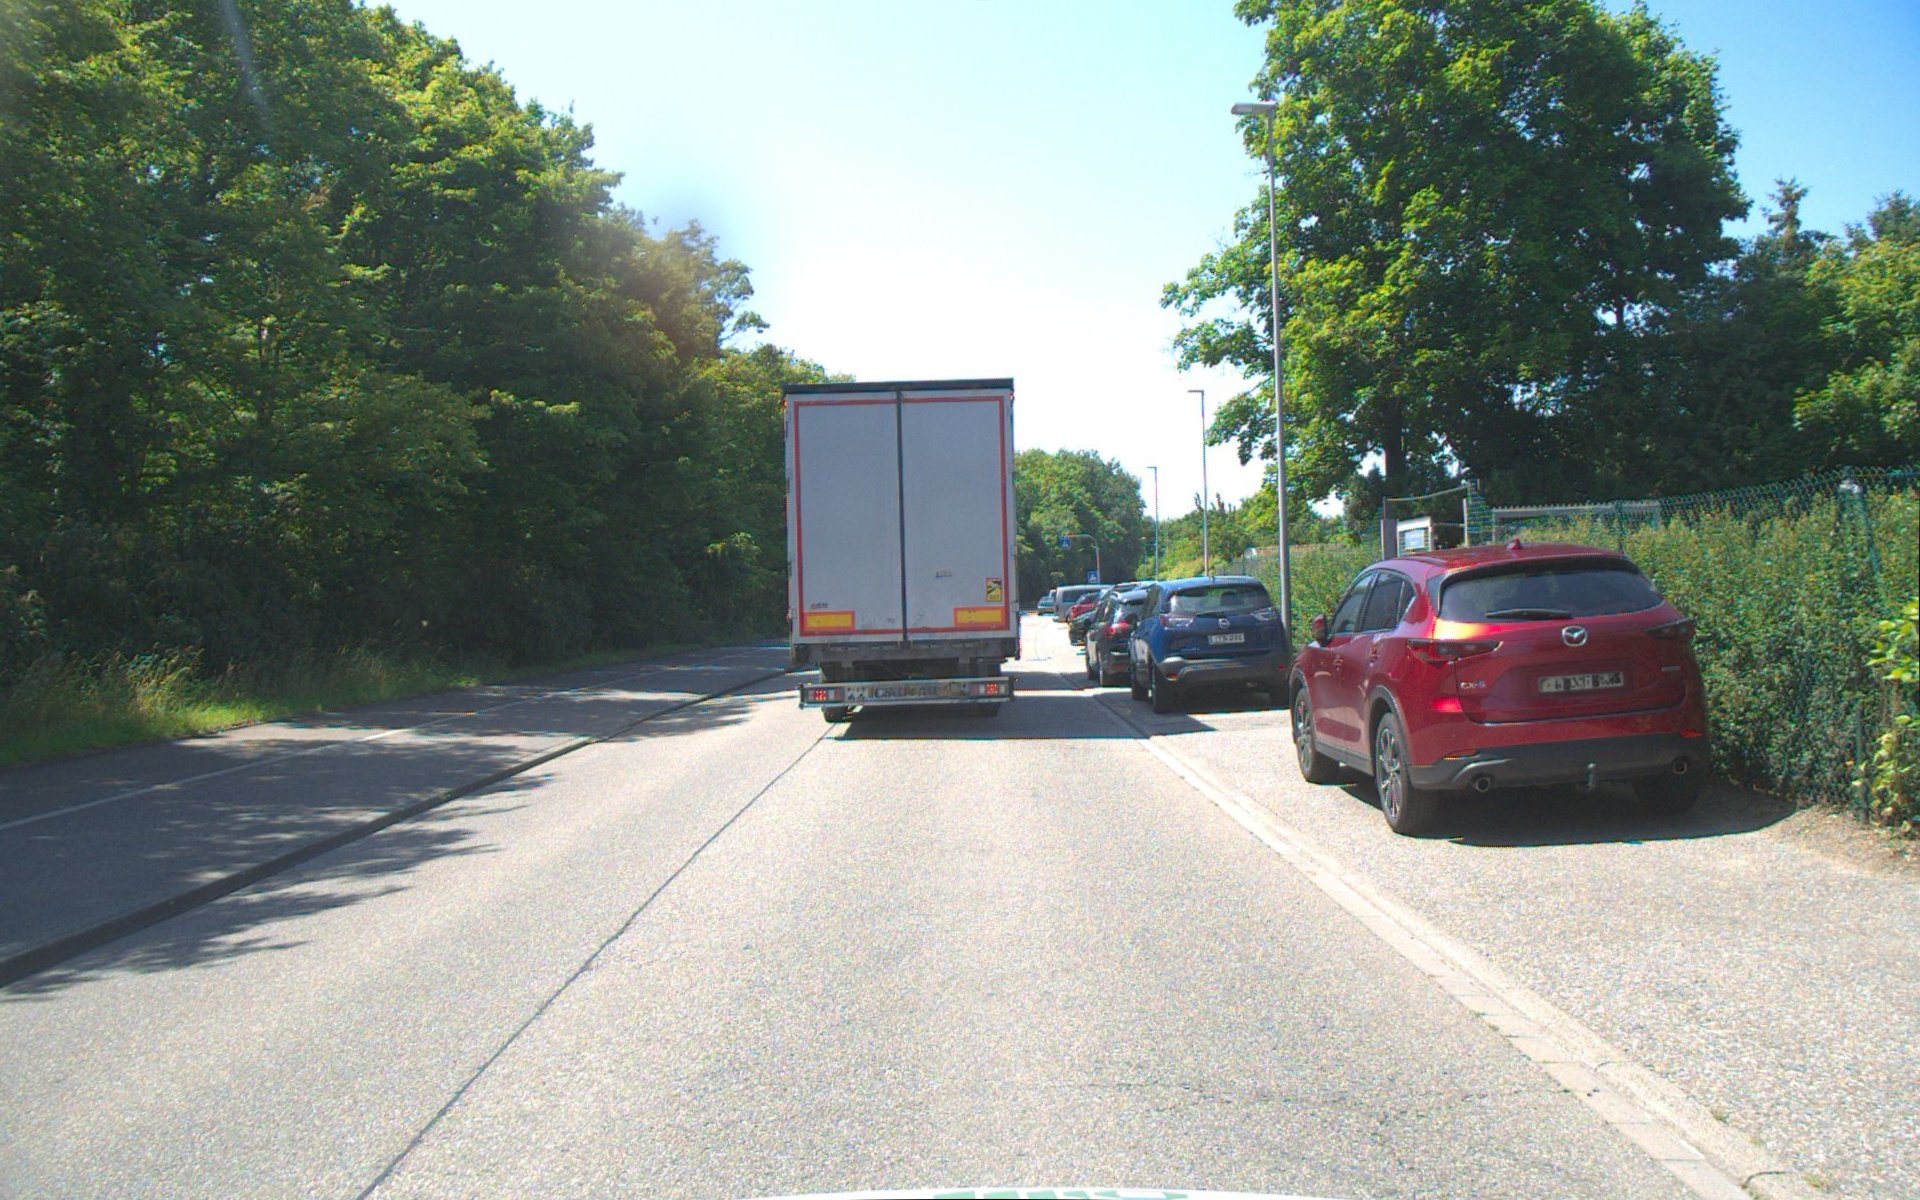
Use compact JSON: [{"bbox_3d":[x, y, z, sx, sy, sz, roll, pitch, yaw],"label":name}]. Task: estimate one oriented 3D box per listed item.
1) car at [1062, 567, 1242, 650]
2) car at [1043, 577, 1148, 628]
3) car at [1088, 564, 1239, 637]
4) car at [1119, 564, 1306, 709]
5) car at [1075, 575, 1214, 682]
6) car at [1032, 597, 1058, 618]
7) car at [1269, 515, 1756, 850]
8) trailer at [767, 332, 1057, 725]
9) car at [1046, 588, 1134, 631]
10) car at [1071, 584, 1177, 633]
[{"bbox_3d":[4.956,0.218,43.122,4.380,1.733,1.914,-5,0,0],"label":"car"},{"bbox_3d":[6.095,0.110,74.398,4.525,1.880,1.997,-5,0,4],"label":"car"},{"bbox_3d":[5.892,-0.001,48.281,4.169,1.727,1.854,-5,0,4],"label":"car"},{"bbox_3d":[3.177,0.403,21.557,1.753,1.631,4.129,-2,1,0],"label":"car"},{"bbox_3d":[3.017,0.436,27.927,1.753,1.507,4.665,-5,0,0],"label":"car"},{"bbox_3d":[6.463,0.544,126.023,1.743,1.512,4.003,-1,0,6],"label":"car"},{"bbox_3d":[3.453,0.447,11.323,1.753,1.686,4.452,-5,0,0],"label":"car"},{"bbox_3d":[-0.638,-0.794,23.525,3.050,4.174,11.533,-1,0,-1],"label":"trailer"},{"bbox_3d":[5.568,0.392,71.174,3.504,1.527,1.841,-5,0,-2],"label":"car"},{"bbox_3d":[6.174,0.304,62.649,3.838,1.504,1.846,-5,0,3],"label":"car"}]
